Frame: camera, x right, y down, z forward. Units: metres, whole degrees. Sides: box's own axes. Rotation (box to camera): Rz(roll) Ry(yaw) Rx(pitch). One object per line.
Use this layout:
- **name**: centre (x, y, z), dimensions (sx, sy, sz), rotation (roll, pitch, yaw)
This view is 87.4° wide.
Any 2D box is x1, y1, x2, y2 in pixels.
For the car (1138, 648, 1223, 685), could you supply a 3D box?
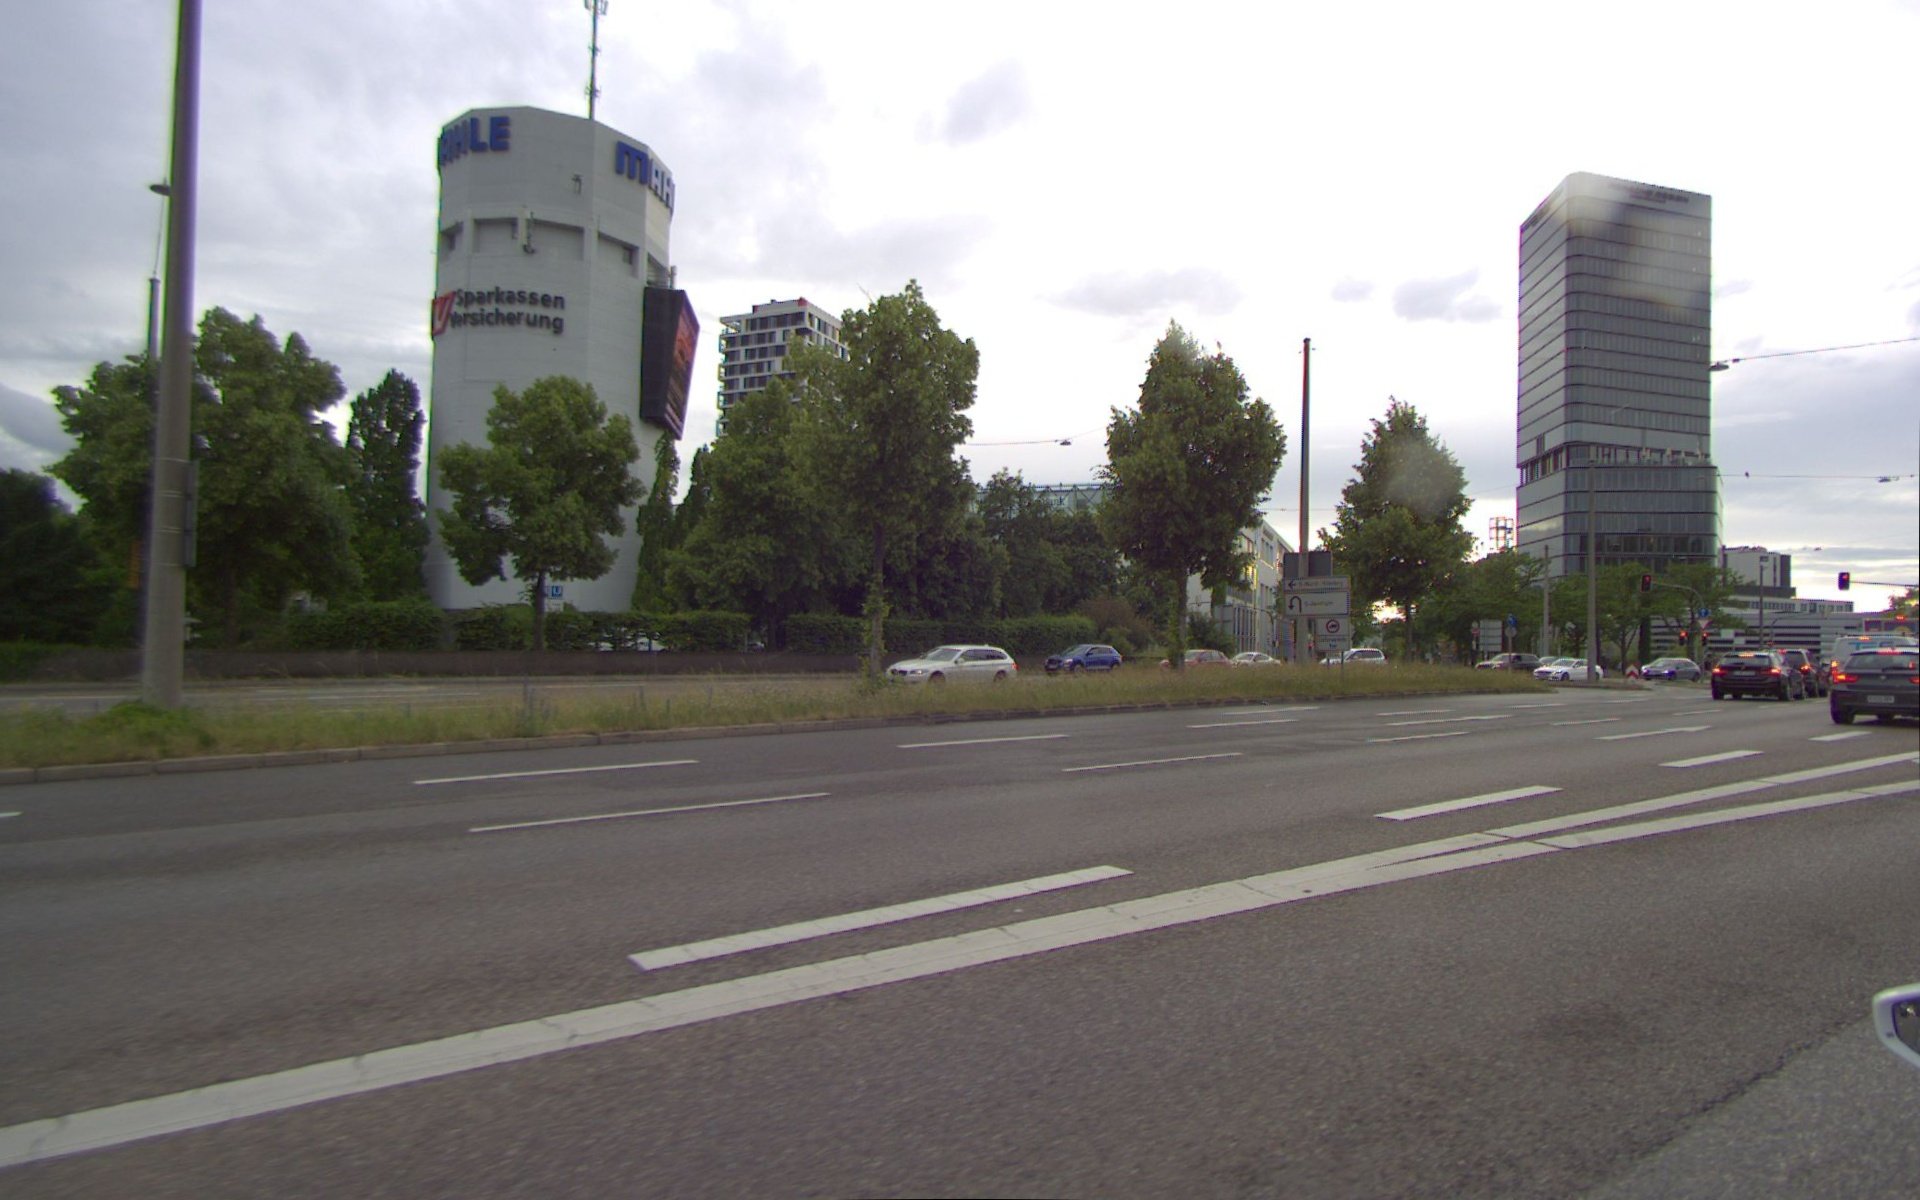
- **car**: centre (10.067, 2.991, 45.778), dimensions (3.973, 1.552, 1.890), rotation (2, -2, -44)

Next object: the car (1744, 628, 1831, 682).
- **car**: centre (29.469, 1.899, 35.720), dimensions (4.043, 1.704, 1.820), rotation (1, 2, -43)

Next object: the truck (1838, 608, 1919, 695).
- **truck**: centre (37.781, 2.061, 40.968), dimensions (2.634, 3.262, 6.521), rotation (1, -1, 39)

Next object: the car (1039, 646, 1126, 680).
- **car**: centre (5.752, 2.924, 46.843), dimensions (3.950, 1.461, 1.860), rotation (2, -2, -41)

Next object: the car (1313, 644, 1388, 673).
- **car**: centre (24.575, 3.644, 63.206), dimensions (4.692, 1.693, 1.983), rotation (2, -1, -32)

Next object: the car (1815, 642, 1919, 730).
- **car**: centre (17.959, 1.569, 18.945), dimensions (3.936, 1.480, 1.857), rotation (2, -2, -35)

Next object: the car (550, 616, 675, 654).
- **car**: centre (-21.568, 2.184, 62.619), dimensions (6.947, 2.159, 2.361), rotation (3, -1, -42)

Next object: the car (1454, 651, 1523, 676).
- **car**: centre (34.286, 4.104, 65.096), dimensions (4.527, 1.503, 1.920), rotation (2, -1, -31)

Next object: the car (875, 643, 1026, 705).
- **car**: centre (-0.223, 2.320, 32.442), dimensions (4.837, 1.794, 1.975), rotation (2, -2, -43)

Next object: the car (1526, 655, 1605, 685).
- **car**: centre (36.903, 4.274, 61.205), dimensions (4.541, 1.680, 1.888), rotation (2, -2, -24)

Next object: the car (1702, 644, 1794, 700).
- **car**: centre (24.085, 2.165, 30.644), dimensions (1.884, 1.584, 3.978), rotation (-2, -4, 43)

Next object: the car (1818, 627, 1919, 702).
- **car**: centre (26.425, 1.848, 28.941), dimensions (5.054, 1.998, 1.888), rotation (3, -4, -42)

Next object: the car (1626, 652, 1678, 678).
- **car**: centre (51.775, 4.826, 75.128), dimensions (3.710, 1.862, 1.757), rotation (1, -1, -28)

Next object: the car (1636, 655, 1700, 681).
- **car**: centre (48.950, 4.692, 69.459), dimensions (3.857, 1.679, 1.824), rotation (2, -1, -23)

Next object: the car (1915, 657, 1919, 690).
- **car**: centre (49.027, 3.685, 49.687), dimensions (1.893, 1.665, 4.380), rotation (1, -3, 34)

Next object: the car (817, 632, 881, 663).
- **car**: centre (-7.632, 3.250, 69.070), dimensions (3.963, 2.040, 1.979), rotation (1, -1, -38)

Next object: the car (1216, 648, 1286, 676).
- **car**: centre (15.707, 3.327, 54.213), dimensions (3.946, 1.410, 1.648), rotation (2, -2, -38)
